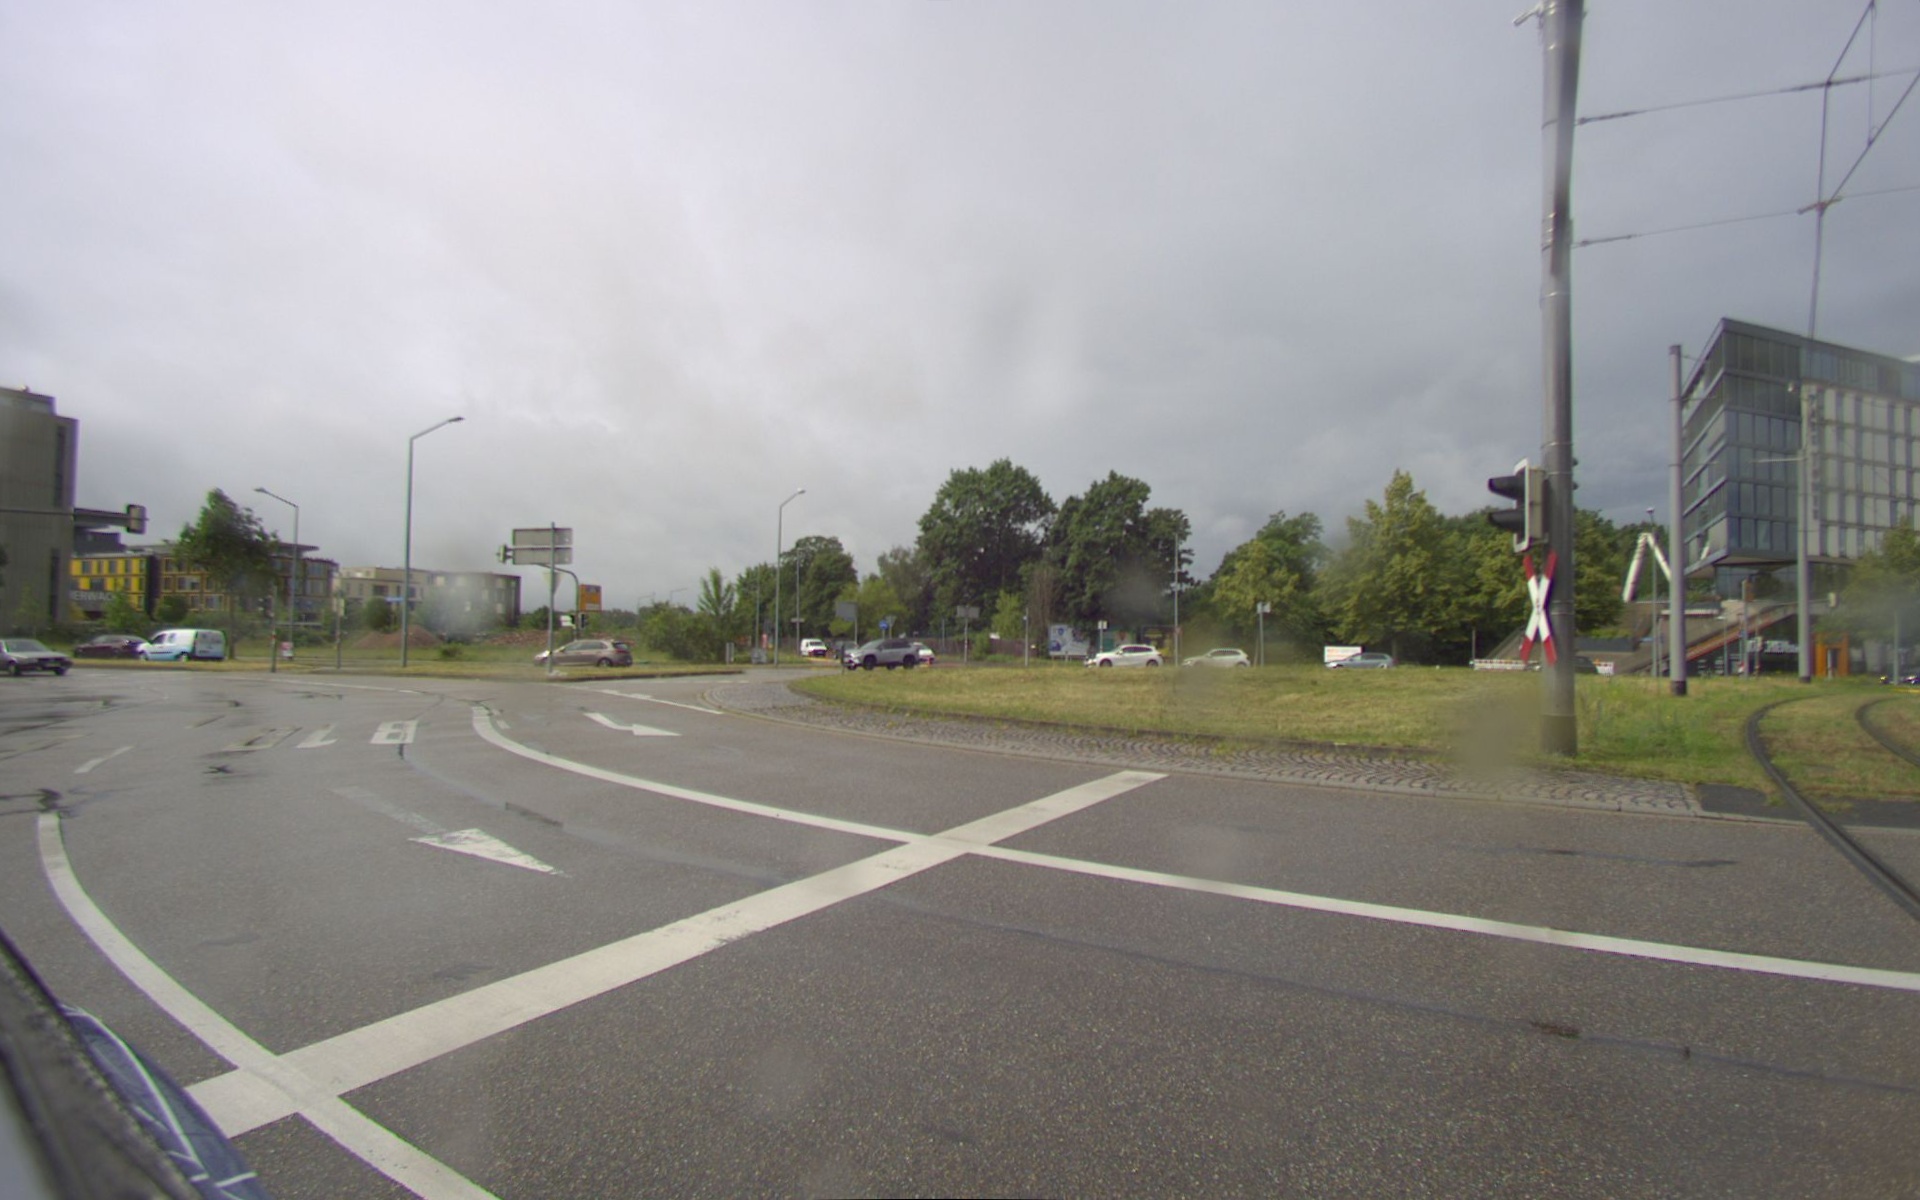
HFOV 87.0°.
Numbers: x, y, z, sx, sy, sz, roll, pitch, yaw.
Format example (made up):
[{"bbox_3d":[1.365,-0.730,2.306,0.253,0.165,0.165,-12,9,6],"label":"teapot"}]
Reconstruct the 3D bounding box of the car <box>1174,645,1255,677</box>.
[{"bbox_3d":[15.221,3.660,60.699,4.410,1.685,1.865,2,-4,2],"label":"car"}]

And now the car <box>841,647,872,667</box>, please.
[{"bbox_3d":[-9.265,5.127,90.259,1.844,1.676,4.496,2,-5,-16],"label":"car"}]

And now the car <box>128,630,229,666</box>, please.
[{"bbox_3d":[-39.946,2.471,51.732,4.514,1.776,1.856,-1,-4,18],"label":"car"}]

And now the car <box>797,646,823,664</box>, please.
[{"bbox_3d":[-14.975,5.495,100.946,1.844,1.676,4.496,2,-4,-16],"label":"car"}]

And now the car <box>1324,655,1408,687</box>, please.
[{"bbox_3d":[23.983,4.201,59.920,4.430,1.685,1.857,1,-4,16],"label":"car"}]

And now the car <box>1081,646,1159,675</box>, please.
[{"bbox_3d":[8.732,3.315,55.238,3.841,1.519,1.730,1,-3,-10],"label":"car"}]

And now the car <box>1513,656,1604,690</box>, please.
[{"bbox_3d":[32.301,3.914,54.711,3.783,1.685,1.859,0,-2,13],"label":"car"}]

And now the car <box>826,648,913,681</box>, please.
[{"bbox_3d":[-4.832,3.414,54.300,4.412,1.676,1.879,2,-4,-40],"label":"car"}]

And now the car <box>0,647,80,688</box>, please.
[{"bbox_3d":[-36.347,2.545,38.862,4.516,1.391,1.856,0,-1,19],"label":"car"}]

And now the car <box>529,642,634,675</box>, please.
[{"bbox_3d":[-16.934,2.628,45.413,4.070,1.424,1.735,-1,-3,1],"label":"car"}]

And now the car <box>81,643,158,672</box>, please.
[{"bbox_3d":[-50.654,3.462,61.007,4.476,1.670,1.858,-1,-4,27],"label":"car"}]
